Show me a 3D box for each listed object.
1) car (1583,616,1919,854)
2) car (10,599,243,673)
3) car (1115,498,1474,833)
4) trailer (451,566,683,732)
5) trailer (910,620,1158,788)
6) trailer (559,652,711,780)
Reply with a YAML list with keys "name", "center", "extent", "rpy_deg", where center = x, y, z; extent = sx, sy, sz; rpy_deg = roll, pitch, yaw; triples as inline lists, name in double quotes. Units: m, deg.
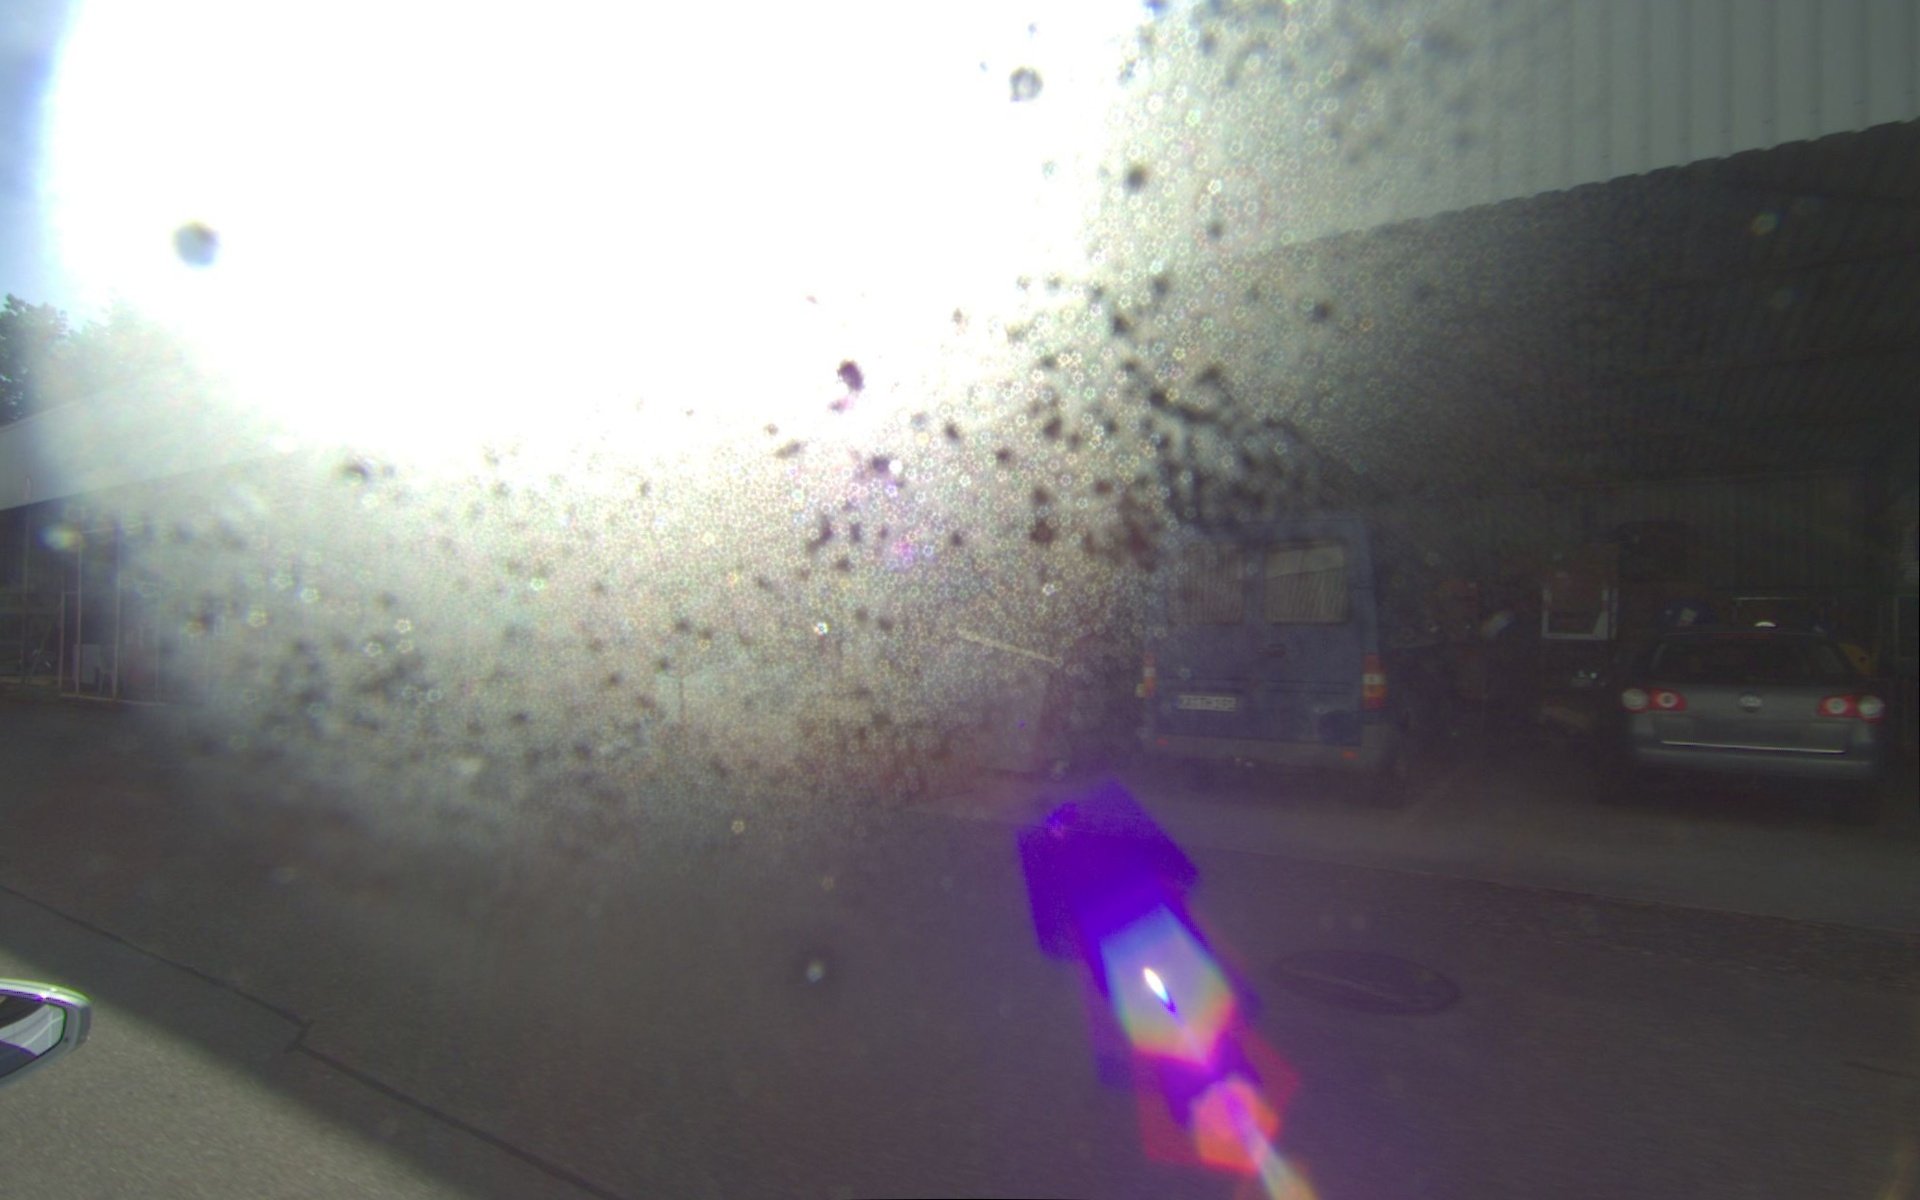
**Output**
- name: "car"
  center: [6.504, 0.956, 8.586]
  extent: [1.813, 1.533, 3.960]
  rpy_deg: [-1, -2, 30]
- name: "car"
  center: [-23.817, 1.057, 28.854]
  extent: [1.967, 1.940, 4.771]
  rpy_deg: [-1, -3, 25]
- name: "car"
  center: [3.547, 0.563, 9.739]
  extent: [2.122, 2.310, 5.324]
  rpy_deg: [-1, -2, 32]
- name: "trailer"
  center: [-5.763, 0.679, 14.712]
  extent: [2.763, 2.171, 1.917]
  rpy_deg: [0, -1, 31]
- name: "trailer"
  center: [0.787, 0.953, 10.216]
  extent: [1.716, 1.485, 2.031]
  rpy_deg: [-1, -1, 37]
- name: "trailer"
  center: [-3.172, 1.089, 9.737]
  extent: [1.524, 1.133, 0.551]
  rpy_deg: [-1, -1, 32]
